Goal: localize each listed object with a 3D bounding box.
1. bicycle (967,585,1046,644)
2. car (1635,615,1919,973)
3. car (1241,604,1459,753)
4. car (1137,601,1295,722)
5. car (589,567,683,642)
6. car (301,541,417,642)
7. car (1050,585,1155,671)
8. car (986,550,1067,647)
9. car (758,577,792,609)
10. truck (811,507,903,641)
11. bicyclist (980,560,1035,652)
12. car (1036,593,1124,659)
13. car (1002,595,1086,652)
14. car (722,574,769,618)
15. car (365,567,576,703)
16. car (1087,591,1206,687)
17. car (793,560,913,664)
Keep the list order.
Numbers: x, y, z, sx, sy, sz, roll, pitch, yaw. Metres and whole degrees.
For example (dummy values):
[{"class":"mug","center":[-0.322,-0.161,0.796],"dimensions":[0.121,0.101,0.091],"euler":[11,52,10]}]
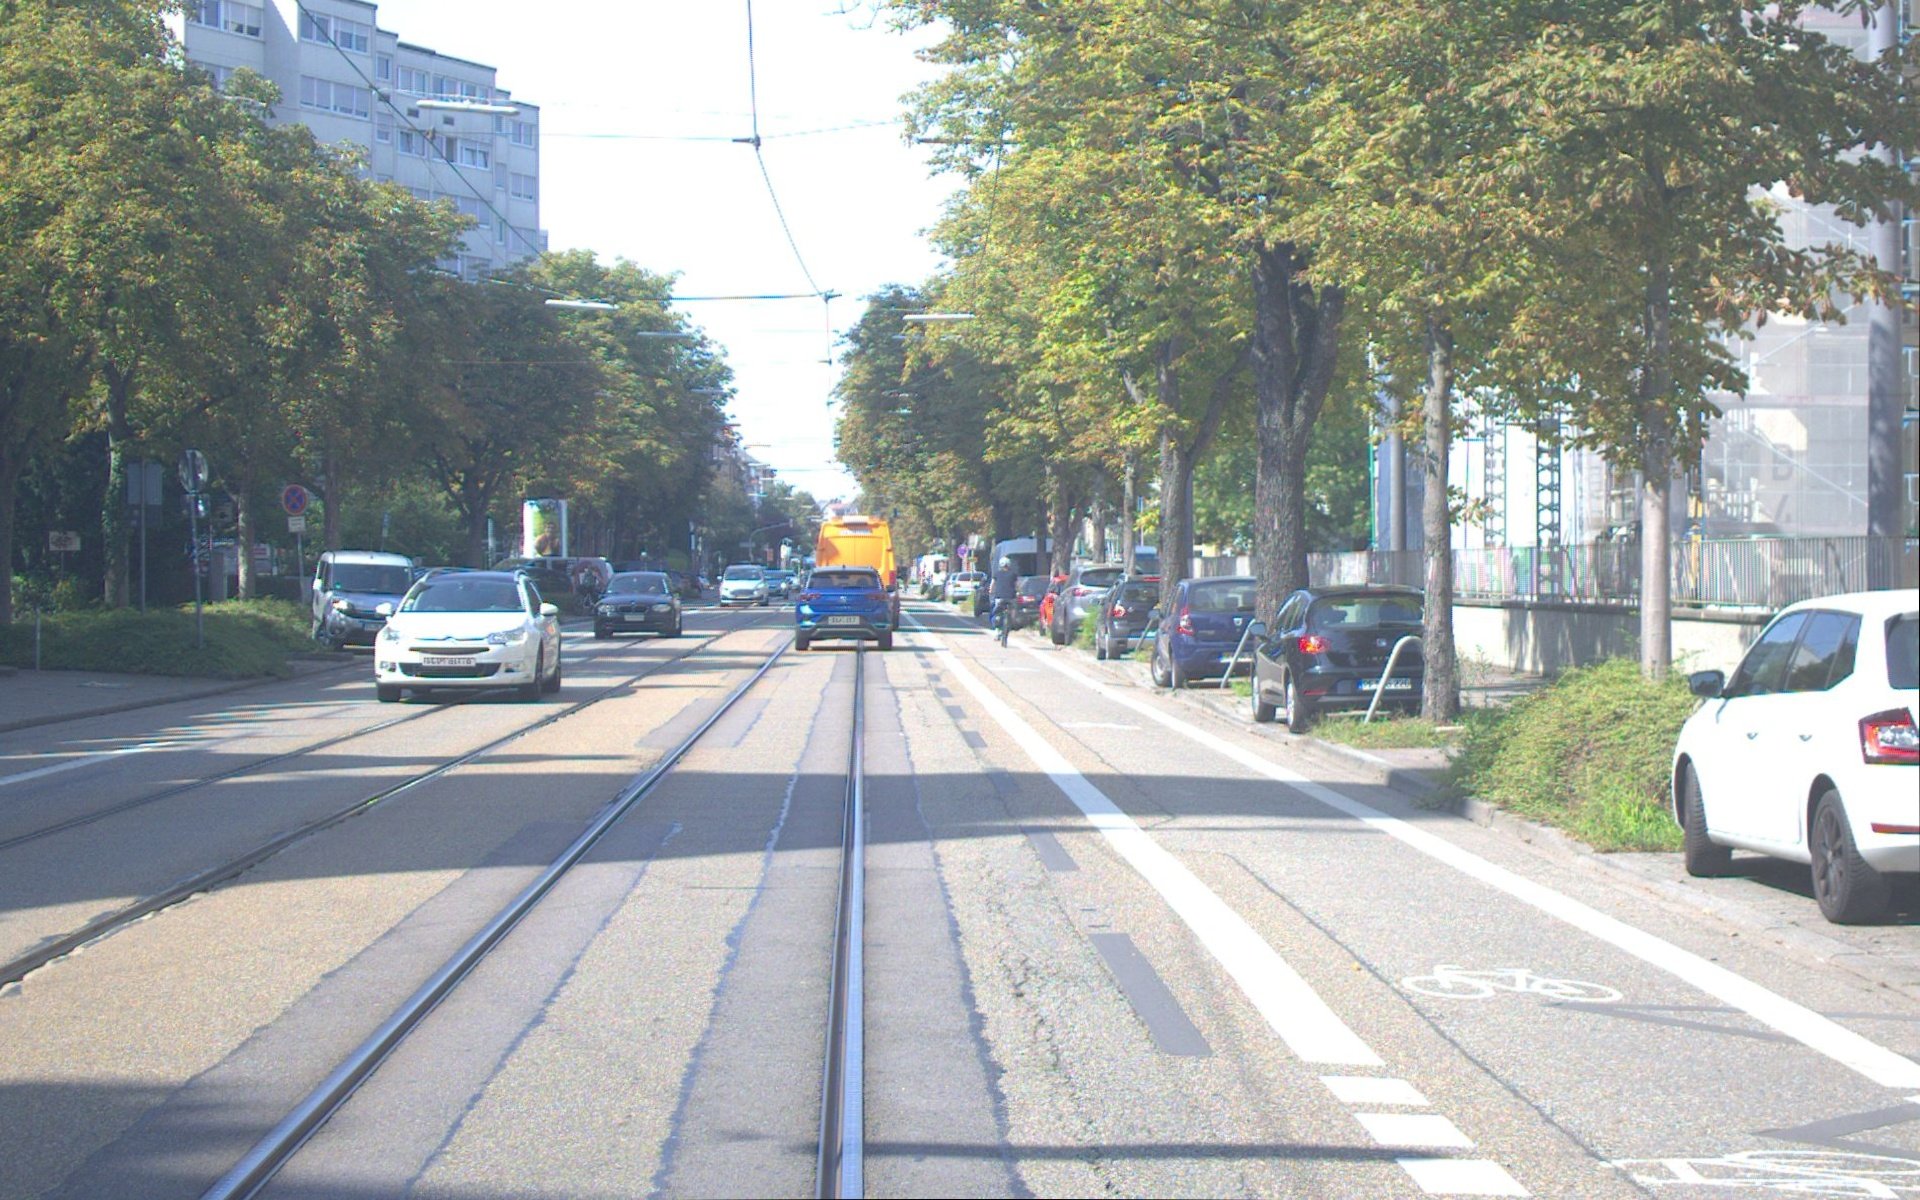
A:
[{"class":"bicycle","center":[0.908,0.272,68.247],"dimensions":[1.401,1.130,4.000],"euler":[0,0,-2]},{"class":"car","center":[4.541,0.824,16.593],"dimensions":[1.659,1.476,4.217],"euler":[0,0,-1]},{"class":"car","center":[3.903,0.749,34.968],"dimensions":[1.659,1.403,4.217],"euler":[0,0,-1]},{"class":"car","center":[3.417,0.797,46.512],"dimensions":[1.743,1.550,4.217],"euler":[0,0,-1]},{"class":"car","center":[-6.992,0.080,74.421],"dimensions":[1.681,1.566,4.206],"euler":[1,0,-1]},{"class":"car","center":[-11.071,-0.160,63.175],"dimensions":[1.746,1.790,4.001],"euler":[1,0,-15]},{"class":"car","center":[2.854,0.540,69.699],"dimensions":[1.740,1.662,4.362],"euler":[1,0,-2]},{"class":"car","center":[1.908,-0.064,100.801],"dimensions":[1.993,2.746,5.762],"euler":[1,0,-2]},{"class":"car","center":[-9.324,-0.368,173.132],"dimensions":[1.633,1.579,4.189],"euler":[1,0,-2]},{"class":"truck","center":[-2.485,-0.625,83.700],"dimensions":[2.135,3.114,6.085],"euler":[0,0,-1]},{"class":"bicyclist","center":[0.947,0.111,68.221],"dimensions":[1.031,1.806,1.016],"euler":[1,0,-1]},{"class":"car","center":[2.771,0.582,80.082],"dimensions":[1.740,1.457,3.684],"euler":[1,0,-2]},{"class":"car","center":[2.187,0.595,90.213],"dimensions":[1.908,1.427,4.293],"euler":[1,0,-2]},{"class":"car","center":[-8.525,-0.172,136.986],"dimensions":[1.780,1.678,4.347],"euler":[1,0,-2]},{"class":"car","center":[-5.666,0.371,40.314],"dimensions":[1.846,1.487,4.867],"euler":[0,0,-1]},{"class":"car","center":[3.201,0.644,59.609],"dimensions":[1.633,1.579,4.189],"euler":[1,0,-2]},{"class":"car","center":[-1.987,0.195,64.603],"dimensions":[2.135,1.852,5.568],"euler":[0,0,-1]}]
